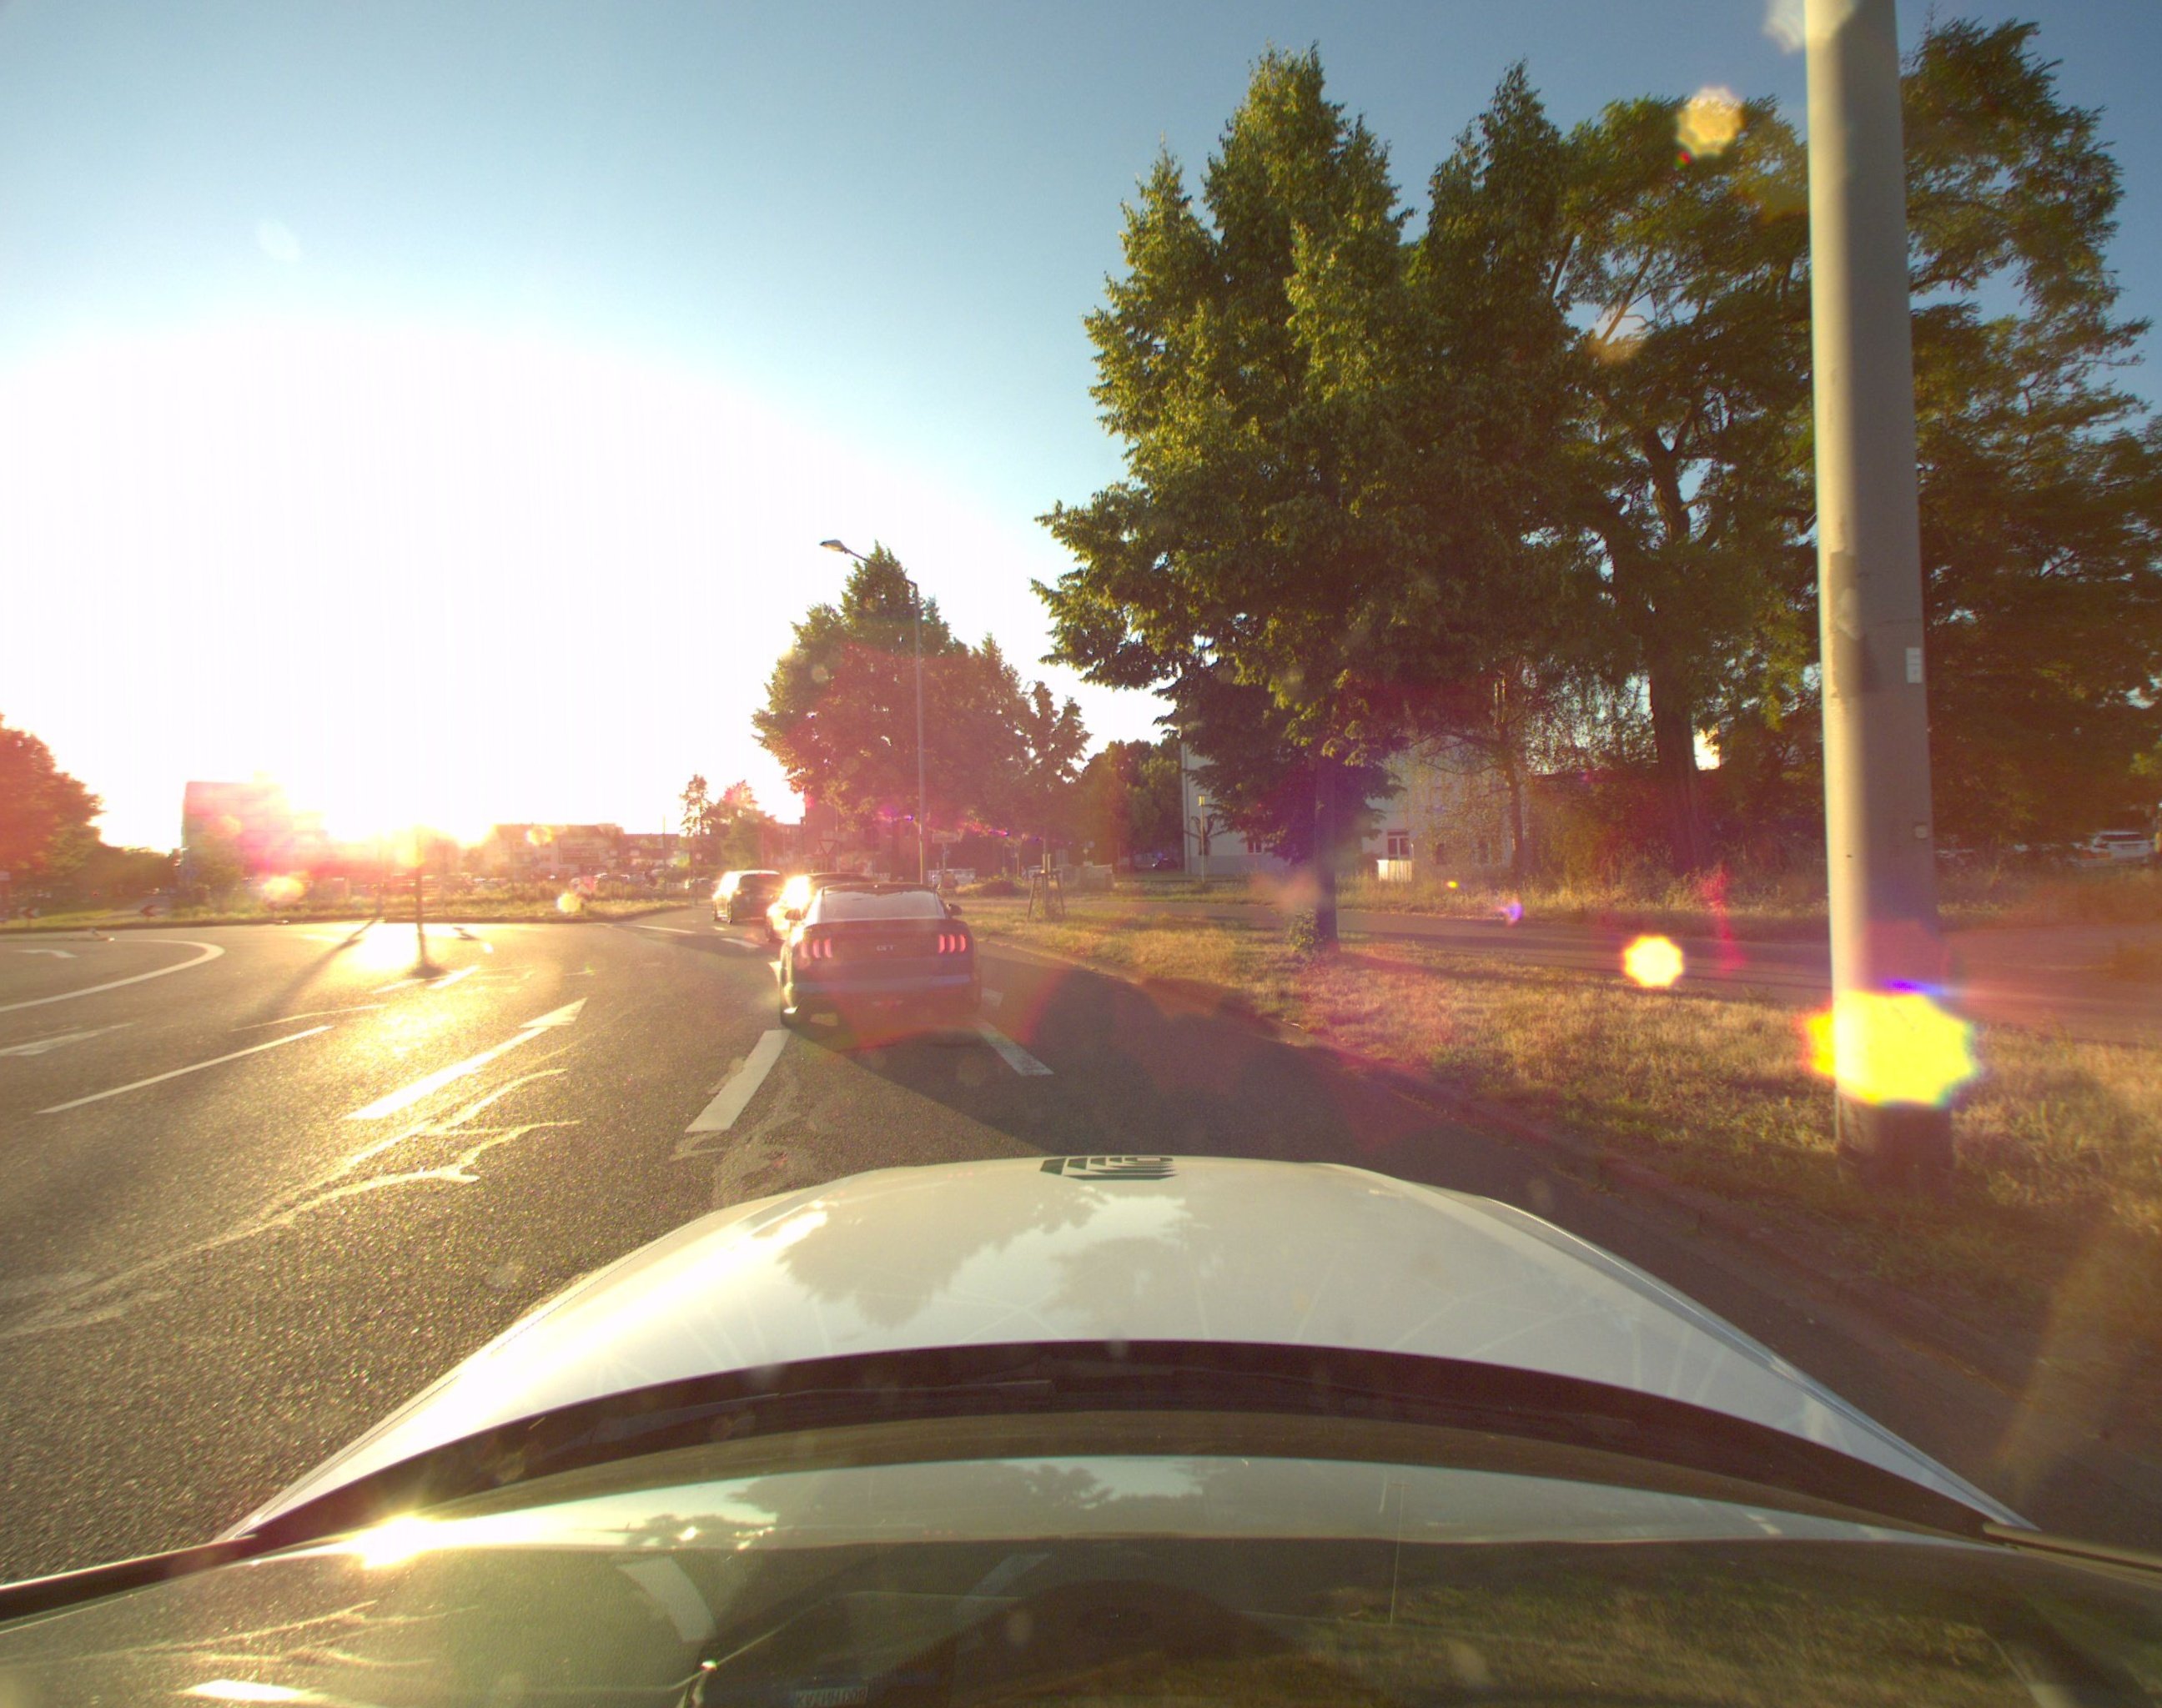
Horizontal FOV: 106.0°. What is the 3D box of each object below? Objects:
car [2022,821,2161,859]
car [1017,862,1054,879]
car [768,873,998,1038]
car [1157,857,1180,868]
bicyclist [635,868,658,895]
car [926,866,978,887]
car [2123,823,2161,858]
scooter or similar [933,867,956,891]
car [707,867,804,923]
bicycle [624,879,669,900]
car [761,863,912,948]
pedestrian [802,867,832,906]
[{"bbox_3d":[42.293,-0.557,34.133,1.931,1.445,4.019,-2,0,18],"label":"car"},{"bbox_3d":[-4.092,1.460,73.266,1.860,1.401,3.936,-2,0,21],"label":"car"},{"bbox_3d":[-2.401,0.918,9.373,1.956,1.342,4.642,1,-1,-18],"label":"car"},{"bbox_3d":[11.645,1.157,108.664,1.859,1.401,3.938,-2,0,24],"label":"car"},{"bbox_3d":[-26.559,1.665,49.810,0.745,1.612,0.984,-2,-1,27],"label":"bicyclist"},{"bbox_3d":[-9.371,1.607,59.485,1.859,1.401,3.939,-2,0,25],"label":"car"},{"bbox_3d":[45.016,-0.565,32.723,1.931,1.445,4.019,-2,0,18],"label":"car"},{"bbox_3d":[-7.210,1.333,43.067,1.127,1.238,0.438,-1,-1,-29],"label":"scooter or similar"},{"bbox_3d":[-10.251,1.247,25.491,1.965,1.602,4.033,3,-3,-34],"label":"car"},{"bbox_3d":[-26.566,2.146,49.817,0.745,1.167,2.424,-2,0,27],"label":"bicycle"},{"bbox_3d":[-4.987,0.902,16.167,1.963,1.427,4.387,0,-1,-29],"label":"car"},{"bbox_3d":[-11.664,1.427,35.978,0.876,1.686,0.851,-2,0,24],"label":"pedestrian"}]
